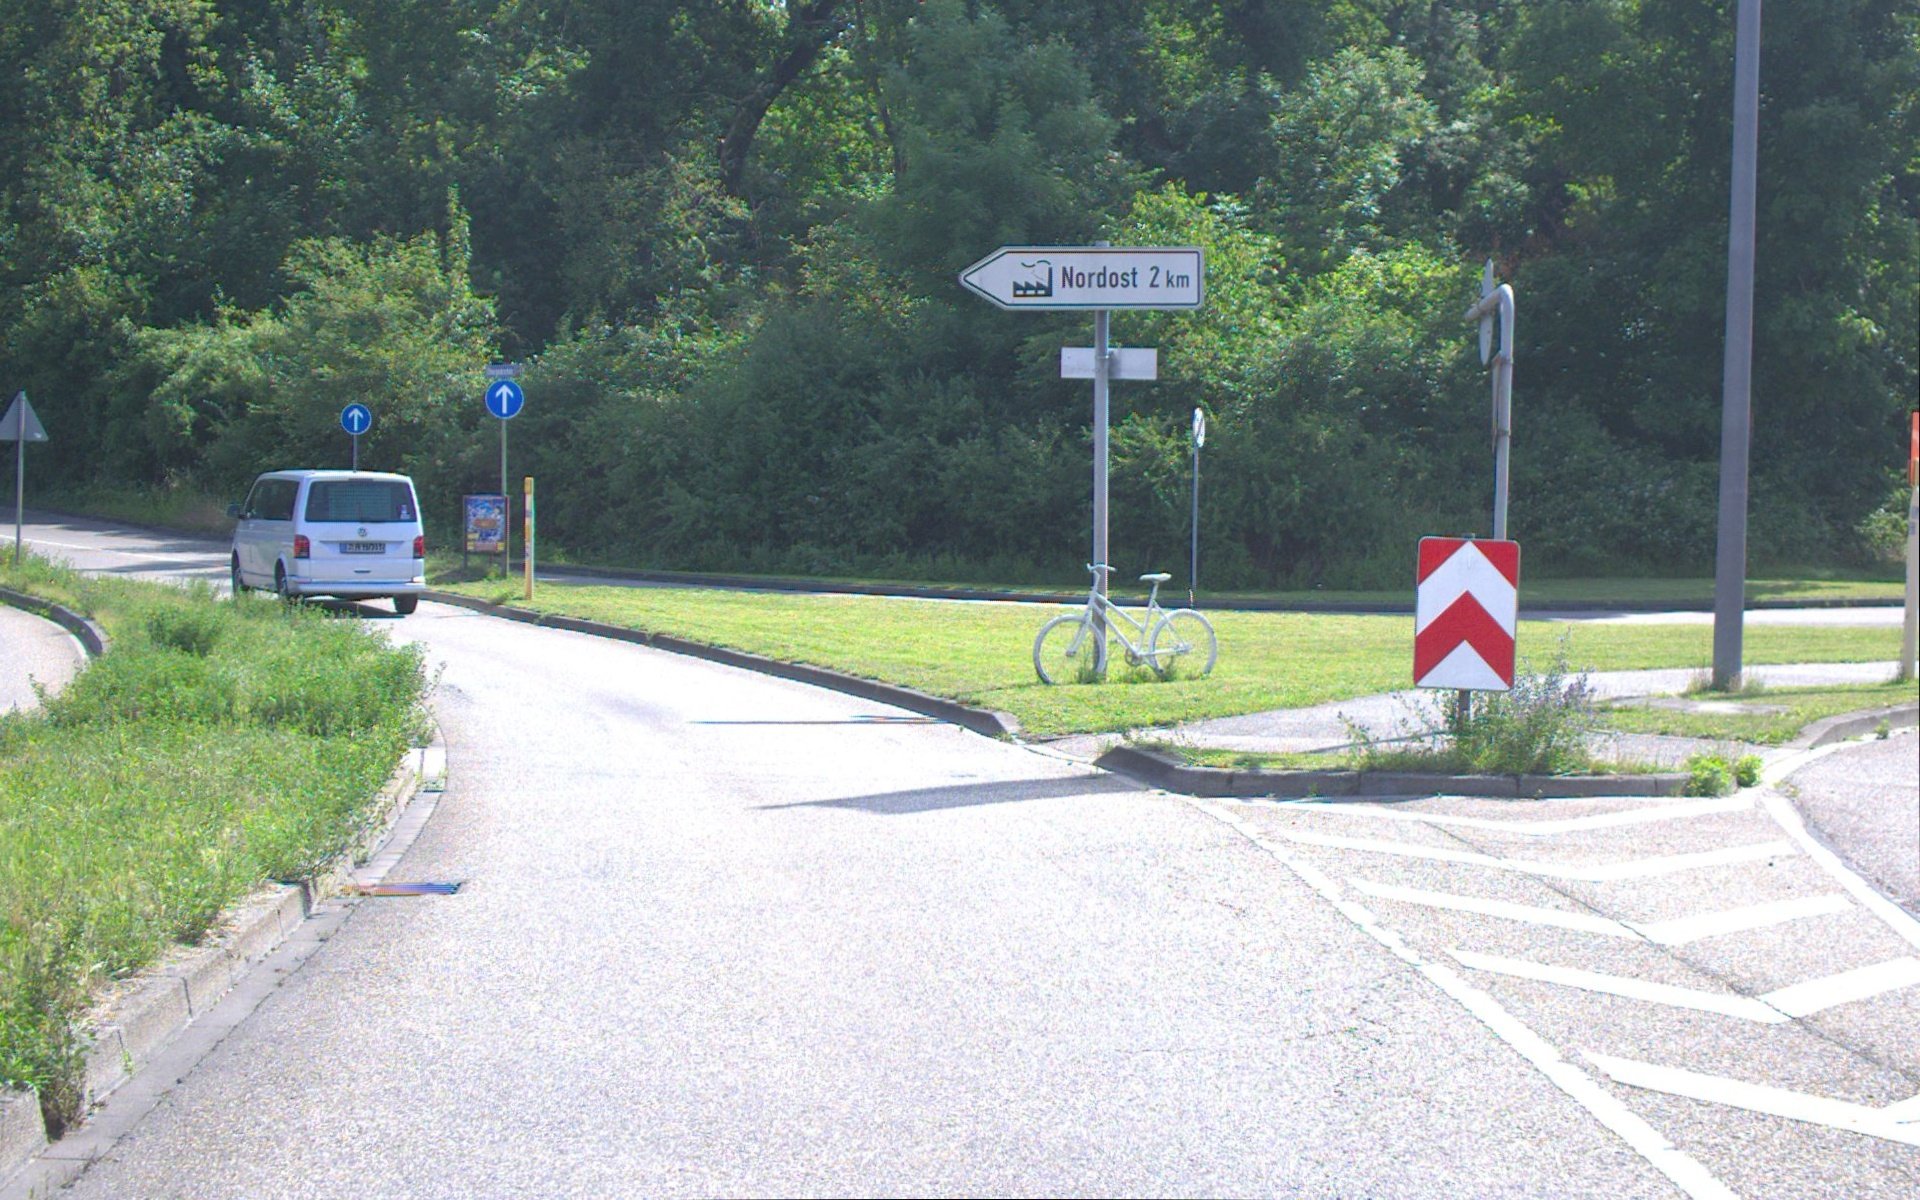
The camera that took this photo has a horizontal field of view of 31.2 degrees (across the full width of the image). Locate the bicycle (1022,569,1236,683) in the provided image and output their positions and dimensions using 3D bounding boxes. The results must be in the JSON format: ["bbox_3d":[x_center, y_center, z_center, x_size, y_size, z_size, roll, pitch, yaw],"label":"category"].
[{"bbox_3d":[1.377,0.205,27.924,1.783,0.886,0.271,-1,2,-21],"label":"bicycle"}]

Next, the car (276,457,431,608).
[{"bbox_3d":[-8.432,-0.965,47.956,2.038,2.006,4.001,0,2,-9],"label":"car"}]
